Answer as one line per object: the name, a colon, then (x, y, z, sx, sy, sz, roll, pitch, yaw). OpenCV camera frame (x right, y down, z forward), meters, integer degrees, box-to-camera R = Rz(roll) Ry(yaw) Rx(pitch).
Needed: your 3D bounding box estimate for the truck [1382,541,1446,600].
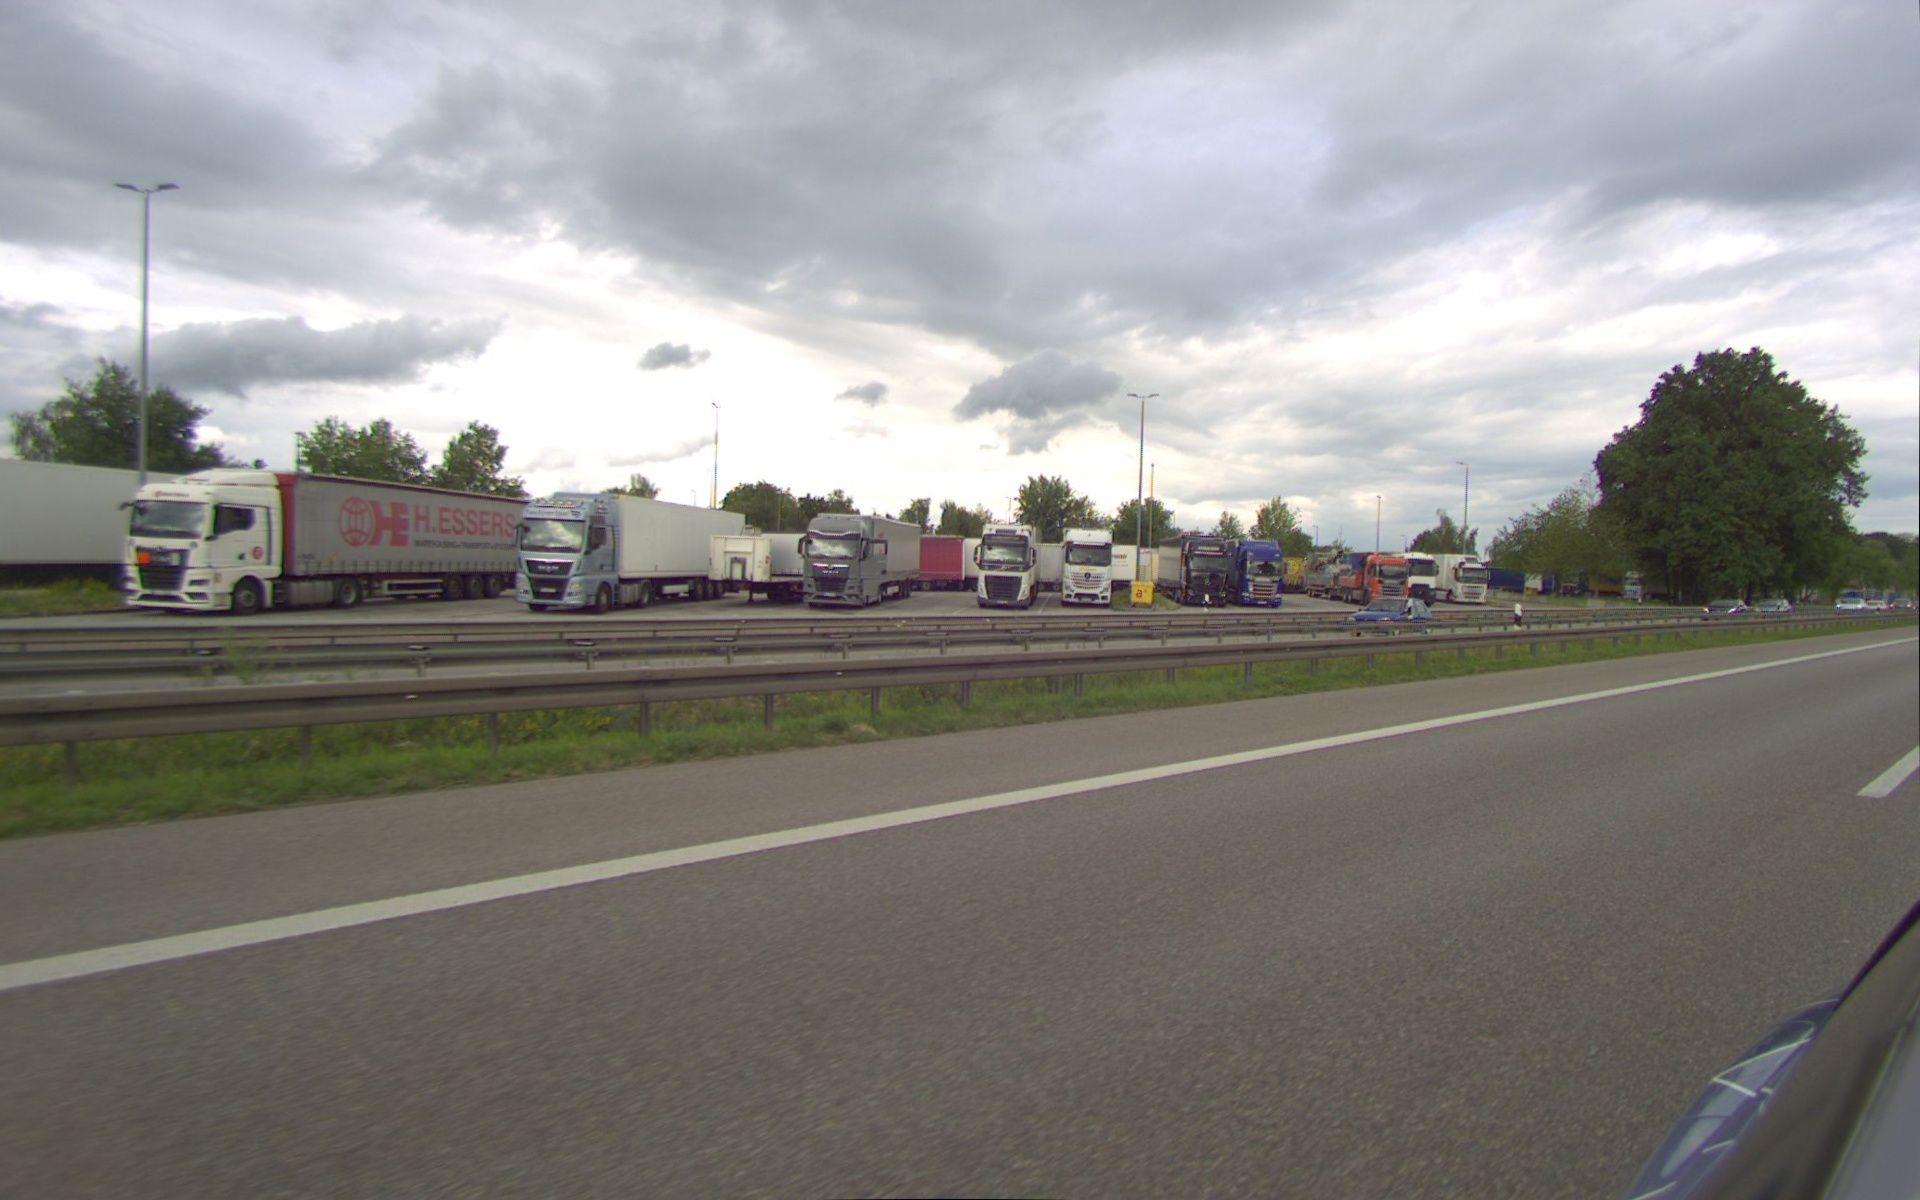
truck: (33.710, -2.103, 75.377, 2.623, 4.201, 5.920, 0, 0, 6)

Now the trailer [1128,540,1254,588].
trailer: (20.518, -3.172, 90.327, 10.599, 4.174, 2.921, 0, 0, 2)

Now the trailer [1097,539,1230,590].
trailer: (17.091, -2.964, 85.387, 10.599, 4.174, 2.921, 0, 0, 2)

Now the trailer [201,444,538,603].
trailer: (-19.541, -2.184, 35.457, 2.434, 4.451, 14.122, 0, 0, 6)

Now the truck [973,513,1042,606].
truck: (2.415, -1.844, 49.245, 2.836, 4.187, 6.959, 0, 0, 7)

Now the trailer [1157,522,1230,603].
trailer: (14.760, -2.227, 64.871, 3.109, 4.649, 12.389, 0, 0, 6)

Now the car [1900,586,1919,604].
car: (109.594, -0.608, 116.392, 4.268, 2.039, 1.703, -1, 0, -41)

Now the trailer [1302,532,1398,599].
trailer: (30.128, -2.469, 79.127, 2.814, 4.737, 15.786, 0, 0, 6)

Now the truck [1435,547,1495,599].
truck: (41.814, -2.183, 83.976, 2.781, 4.112, 6.429, 0, 0, 11)

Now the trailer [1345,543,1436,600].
trailer: (34.306, -2.133, 81.474, 2.617, 4.165, 14.047, 0, 0, 6)

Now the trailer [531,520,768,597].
trailer: (-19.784, -2.594, 64.793, 14.395, 4.701, 3.155, 0, 0, 5)

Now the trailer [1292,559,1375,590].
trailer: (40.354, -2.748, 109.468, 7.891, 3.286, 2.918, 0, 0, 5)

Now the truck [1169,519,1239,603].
truck: (14.143, -2.170, 59.145, 3.113, 4.614, 6.076, 0, 0, 6)

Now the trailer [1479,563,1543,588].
trailer: (78.521, -3.490, 144.267, 7.452, 3.502, 2.919, 0, 0, 4)

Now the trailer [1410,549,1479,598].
trailer: (42.987, -2.235, 90.237, 2.771, 4.106, 10.928, 0, 0, 10)

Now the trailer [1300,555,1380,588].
trailer: (42.938, -3.214, 114.397, 7.886, 3.660, 2.920, 0, 0, 2)

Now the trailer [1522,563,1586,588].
trailer: (86.536, -3.560, 147.607, 7.452, 3.502, 2.919, 0, 0, 4)

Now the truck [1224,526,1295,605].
truck: (18.240, -2.036, 61.999, 3.007, 4.614, 6.076, 0, 0, 6)

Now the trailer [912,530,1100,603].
trailer: (3.400, -2.398, 74.465, 13.311, 5.075, 5.241, 0, 0, 5)

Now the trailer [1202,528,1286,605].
trailer: (18.780, -2.078, 67.916, 3.010, 4.637, 13.636, 0, 0, 6)

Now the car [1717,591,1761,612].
car: (49.184, 0.097, 63.871, 3.930, 1.230, 1.465, 0, 2, -41)

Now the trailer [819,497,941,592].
trailer: (-3.710, -2.504, 52.779, 3.469, 4.186, 15.551, 0, 0, 6)

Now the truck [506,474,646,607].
truck: (-12.884, -1.887, 34.363, 2.594, 4.183, 4.788, 0, 0, 5)

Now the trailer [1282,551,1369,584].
trailer: (37.952, -3.392, 105.312, 7.891, 3.286, 2.918, 0, 0, 5)

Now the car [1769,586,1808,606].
car: (57.287, -0.277, 69.992, 3.930, 1.322, 1.412, 0, 2, -41)

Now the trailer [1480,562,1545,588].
trailer: (76.938, -3.459, 141.013, 7.452, 3.502, 2.919, 0, 0, 4)

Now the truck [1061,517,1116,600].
truck: (6.677, -2.053, 52.409, 2.651, 4.107, 4.787, 0, 0, 8)

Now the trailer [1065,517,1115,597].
trailer: (7.744, -2.283, 59.821, 2.607, 4.145, 13.770, 0, 0, 8)

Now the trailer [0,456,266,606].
trailer: (-27.318, -1.906, 30.141, 2.569, 4.125, 13.514, 0, 0, 8)

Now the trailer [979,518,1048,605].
trailer: (3.258, -1.900, 56.474, 2.806, 4.156, 15.861, 0, 0, 7)

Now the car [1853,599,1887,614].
car: (83.567, 0.586, 92.919, 3.810, 1.258, 1.827, 0, 2, -41)

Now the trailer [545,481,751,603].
trailer: (-12.159, -2.014, 41.796, 2.612, 4.136, 14.673, 0, 0, 6)

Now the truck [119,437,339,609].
truck: (-20.282, -1.982, 28.431, 2.467, 4.382, 4.899, 0, 0, 5)

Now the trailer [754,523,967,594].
trailer: (-6.768, -2.789, 70.116, 14.395, 4.701, 3.155, 0, 0, 5)

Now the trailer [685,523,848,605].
trailer: (-8.299, -1.430, 46.239, 3.533, 3.150, 13.725, 0, 0, 6)

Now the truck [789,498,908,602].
truck: (-4.680, -2.013, 44.333, 3.487, 4.136, 7.640, 0, 0, 7)

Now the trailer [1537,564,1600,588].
trailer: (90.645, -3.607, 150.930, 7.452, 3.502, 2.919, 0, 0, 4)

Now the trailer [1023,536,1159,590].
trailer: (10.464, -2.948, 81.778, 10.599, 4.174, 2.921, 0, 0, 2)

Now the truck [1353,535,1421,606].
truck: (29.296, -1.955, 69.683, 2.827, 4.683, 5.165, 0, 0, 5)

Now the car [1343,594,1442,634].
car: (14.748, 0.436, 34.460, 3.484, 1.274, 1.795, -1, 0, -41)
